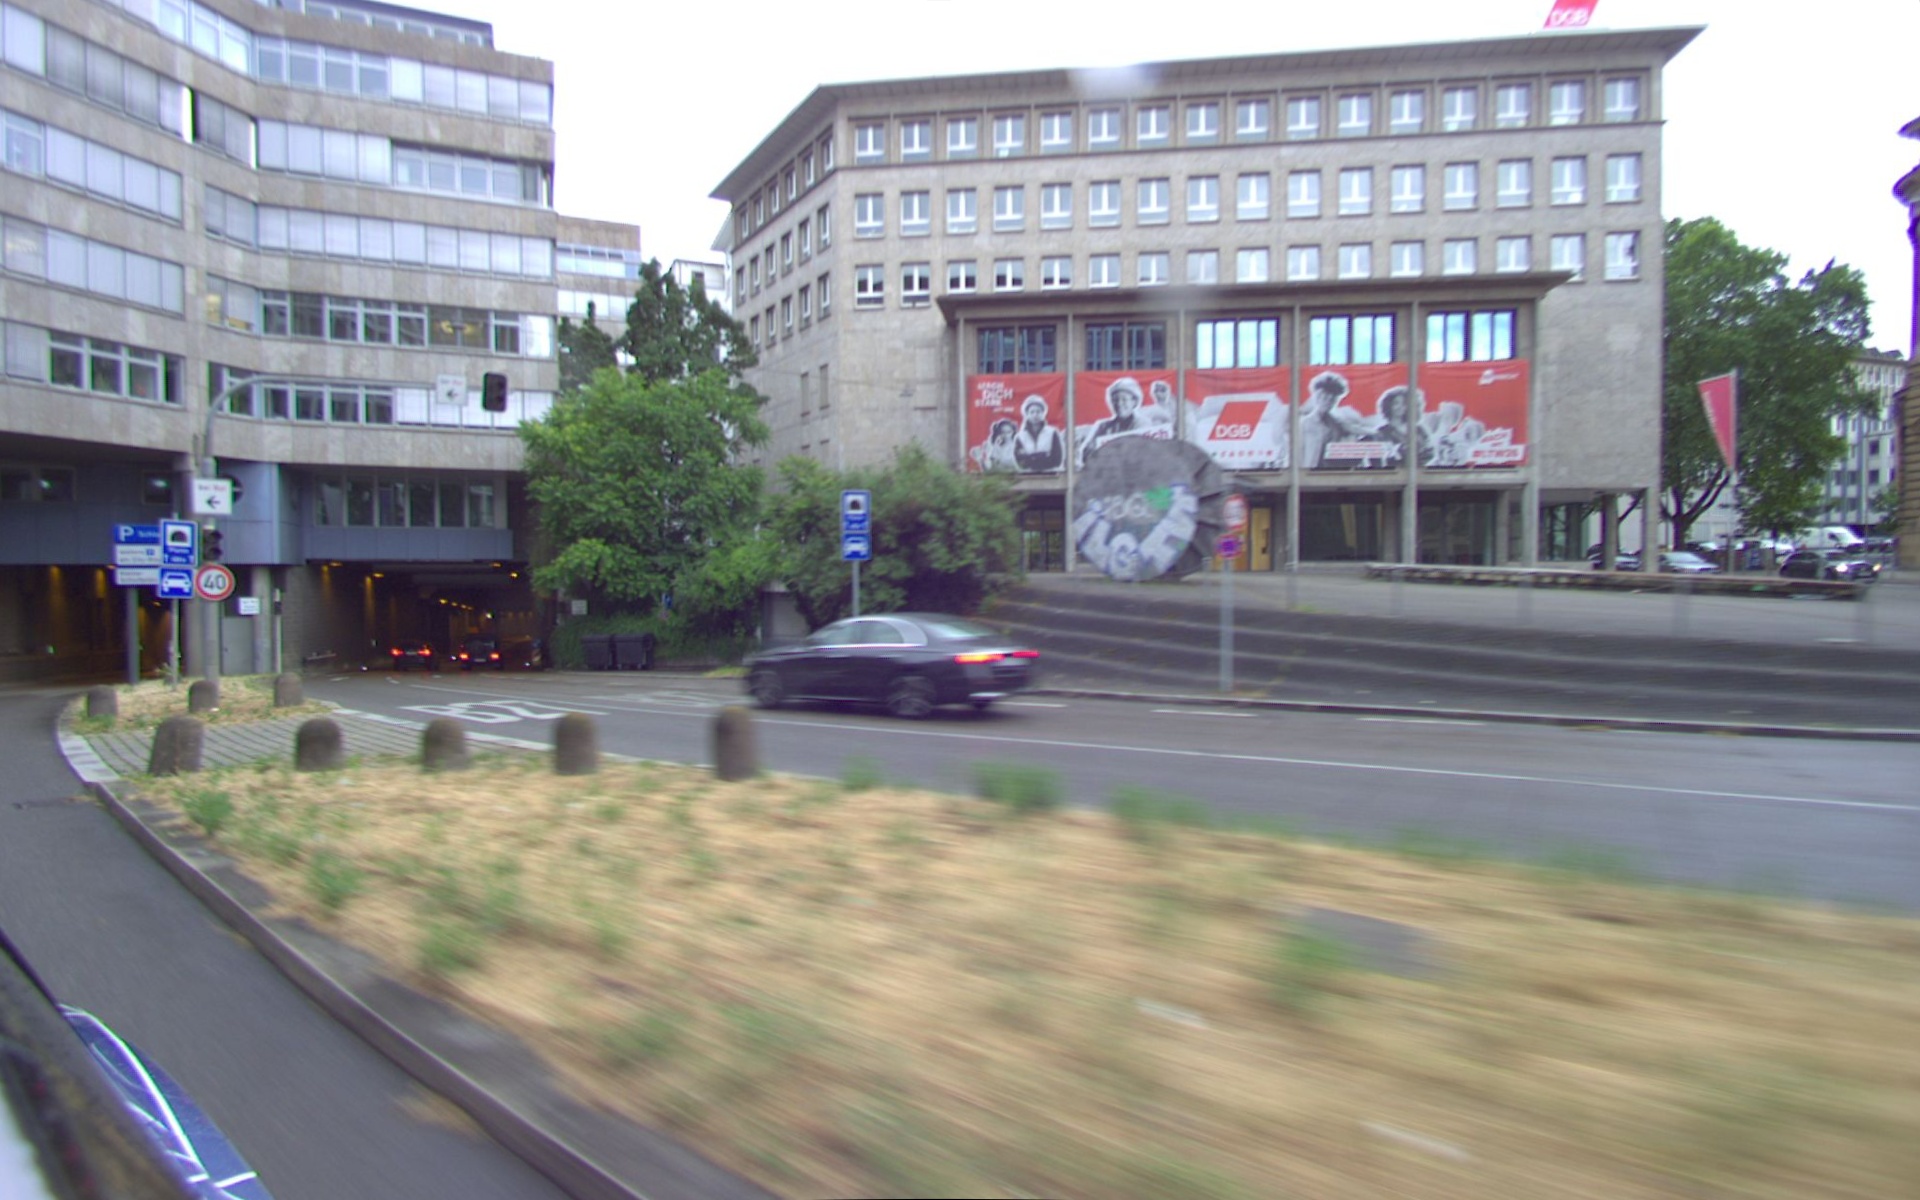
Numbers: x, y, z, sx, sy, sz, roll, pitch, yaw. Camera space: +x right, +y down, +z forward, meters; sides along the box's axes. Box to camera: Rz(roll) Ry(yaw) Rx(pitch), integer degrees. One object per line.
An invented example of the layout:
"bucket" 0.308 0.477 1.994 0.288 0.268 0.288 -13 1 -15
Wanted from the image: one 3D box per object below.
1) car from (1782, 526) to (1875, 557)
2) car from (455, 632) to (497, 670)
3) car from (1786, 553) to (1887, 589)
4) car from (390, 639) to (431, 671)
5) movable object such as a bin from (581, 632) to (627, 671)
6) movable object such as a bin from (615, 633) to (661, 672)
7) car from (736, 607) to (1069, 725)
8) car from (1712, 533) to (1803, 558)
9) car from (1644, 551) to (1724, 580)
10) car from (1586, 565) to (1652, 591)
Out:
"car" 80.518 -5.389 93.989 2.275 2.580 6.312 -1 1 -16
"car" -25.730 2.722 53.923 1.811 1.936 4.657 0 -3 -23
"car" 37.437 -1.222 43.342 1.601 1.414 3.612 -1 1 9
"car" -29.068 2.930 53.612 1.819 1.600 4.403 0 -3 -28
"movable object such as a bin" -13.774 1.970 39.201 1.324 1.461 1.165 -1 -1 6
"movable object such as a bin" -12.389 2.008 38.954 1.196 1.461 1.290 -1 -1 14
"car" -0.956 0.862 15.188 4.830 1.504 1.977 0 0 35
"car" 72.889 -4.944 92.644 2.275 1.971 6.312 -1 1 -16
"car" 33.693 -1.562 47.189 1.602 1.257 3.611 -1 1 10
"car" 34.475 -1.127 53.009 1.602 1.257 3.611 -1 1 10
